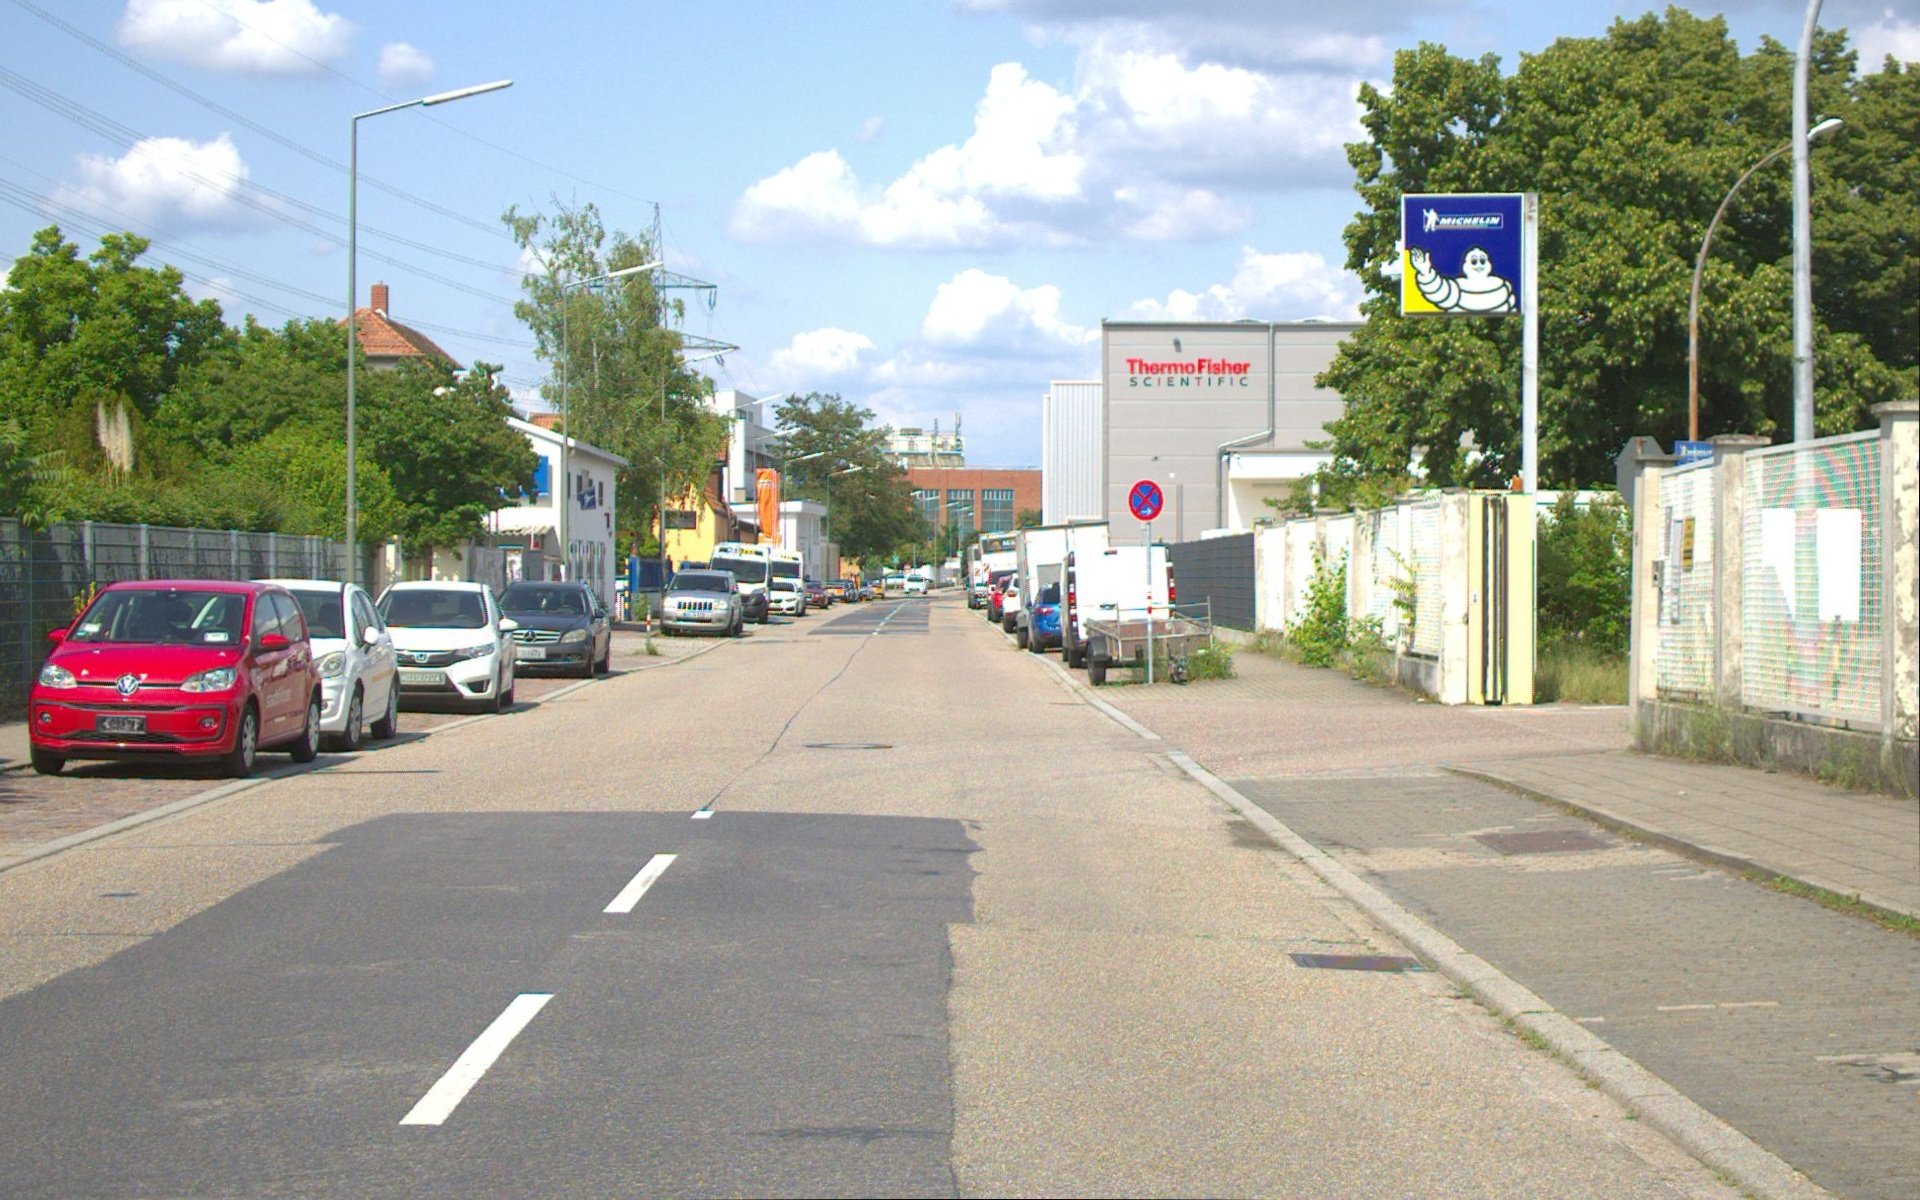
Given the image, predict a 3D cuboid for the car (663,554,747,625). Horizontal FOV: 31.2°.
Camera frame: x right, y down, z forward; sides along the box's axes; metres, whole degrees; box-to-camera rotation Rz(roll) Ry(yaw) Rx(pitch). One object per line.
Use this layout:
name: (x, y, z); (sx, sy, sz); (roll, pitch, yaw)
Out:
car: (-6.629, -0.291, 89.821); (1.791, 1.713, 4.751); (3, 0, 0)

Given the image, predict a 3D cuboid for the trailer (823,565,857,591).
trailer: (-7.352, -1.370, 210.985); (1.993, 1.551, 4.253); (1, 0, 0)

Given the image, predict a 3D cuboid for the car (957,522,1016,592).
car: (1.294, -2.122, 172.263); (2.388, 3.351, 6.646); (-3, 0, -3)

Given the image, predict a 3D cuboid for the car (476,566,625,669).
car: (-6.197, 0.237, 52.461); (1.805, 1.414, 4.497); (3, 1, -2)

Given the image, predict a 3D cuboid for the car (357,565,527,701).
car: (-6.114, 0.354, 40.934); (1.620, 1.517, 4.176); (1, 1, -3)

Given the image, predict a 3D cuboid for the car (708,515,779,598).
car: (-7.066, -1.383, 112.578); (2.030, 2.549, 6.658); (3, 0, -2)

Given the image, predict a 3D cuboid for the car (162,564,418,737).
car: (-6.107, 0.432, 31.733); (1.645, 1.472, 4.029); (1, 0, -1)

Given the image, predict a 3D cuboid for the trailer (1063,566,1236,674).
trailer: (2.658, 0.276, 49.318); (1.748, 1.412, 4.550); (-3, 0, -6)

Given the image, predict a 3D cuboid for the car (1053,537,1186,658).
car: (2.709, -0.065, 59.631); (1.993, 2.007, 5.650); (0, 0, -1)

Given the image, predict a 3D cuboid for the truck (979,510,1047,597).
truck: (2.148, -1.890, 141.276); (2.458, 3.282, 6.817); (-4, 0, 0)

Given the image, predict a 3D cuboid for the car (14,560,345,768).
car: (-6.021, 0.462, 26.918); (1.666, 1.462, 3.743); (2, 0, 0)

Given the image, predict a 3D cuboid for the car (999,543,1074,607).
car: (2.136, -0.722, 97.225); (1.935, 1.688, 4.680); (-2, 1, 0)

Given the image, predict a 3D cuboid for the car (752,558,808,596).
car: (-6.903, -0.873, 132.330); (1.796, 1.392, 4.501); (2, 0, 1)

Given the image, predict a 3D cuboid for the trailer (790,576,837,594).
trailer: (-8.079, -0.841, 189.960); (2.362, 0.890, 5.569); (2, 0, 0)

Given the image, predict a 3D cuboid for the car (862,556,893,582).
car: (-5.984, -2.243, 250.015); (1.922, 1.788, 4.000); (2, 0, 2)

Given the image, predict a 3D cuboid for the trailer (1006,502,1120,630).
trailer: (2.295, -0.757, 78.619); (2.204, 2.727, 6.222); (-3, 0, -1)

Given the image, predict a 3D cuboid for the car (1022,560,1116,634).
car: (2.265, -0.072, 72.062); (1.690, 1.456, 4.071); (-2, 0, -1)

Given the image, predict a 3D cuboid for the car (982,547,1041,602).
car: (1.852, -0.922, 123.658); (2.054, 1.897, 5.147); (1, 1, 1)
